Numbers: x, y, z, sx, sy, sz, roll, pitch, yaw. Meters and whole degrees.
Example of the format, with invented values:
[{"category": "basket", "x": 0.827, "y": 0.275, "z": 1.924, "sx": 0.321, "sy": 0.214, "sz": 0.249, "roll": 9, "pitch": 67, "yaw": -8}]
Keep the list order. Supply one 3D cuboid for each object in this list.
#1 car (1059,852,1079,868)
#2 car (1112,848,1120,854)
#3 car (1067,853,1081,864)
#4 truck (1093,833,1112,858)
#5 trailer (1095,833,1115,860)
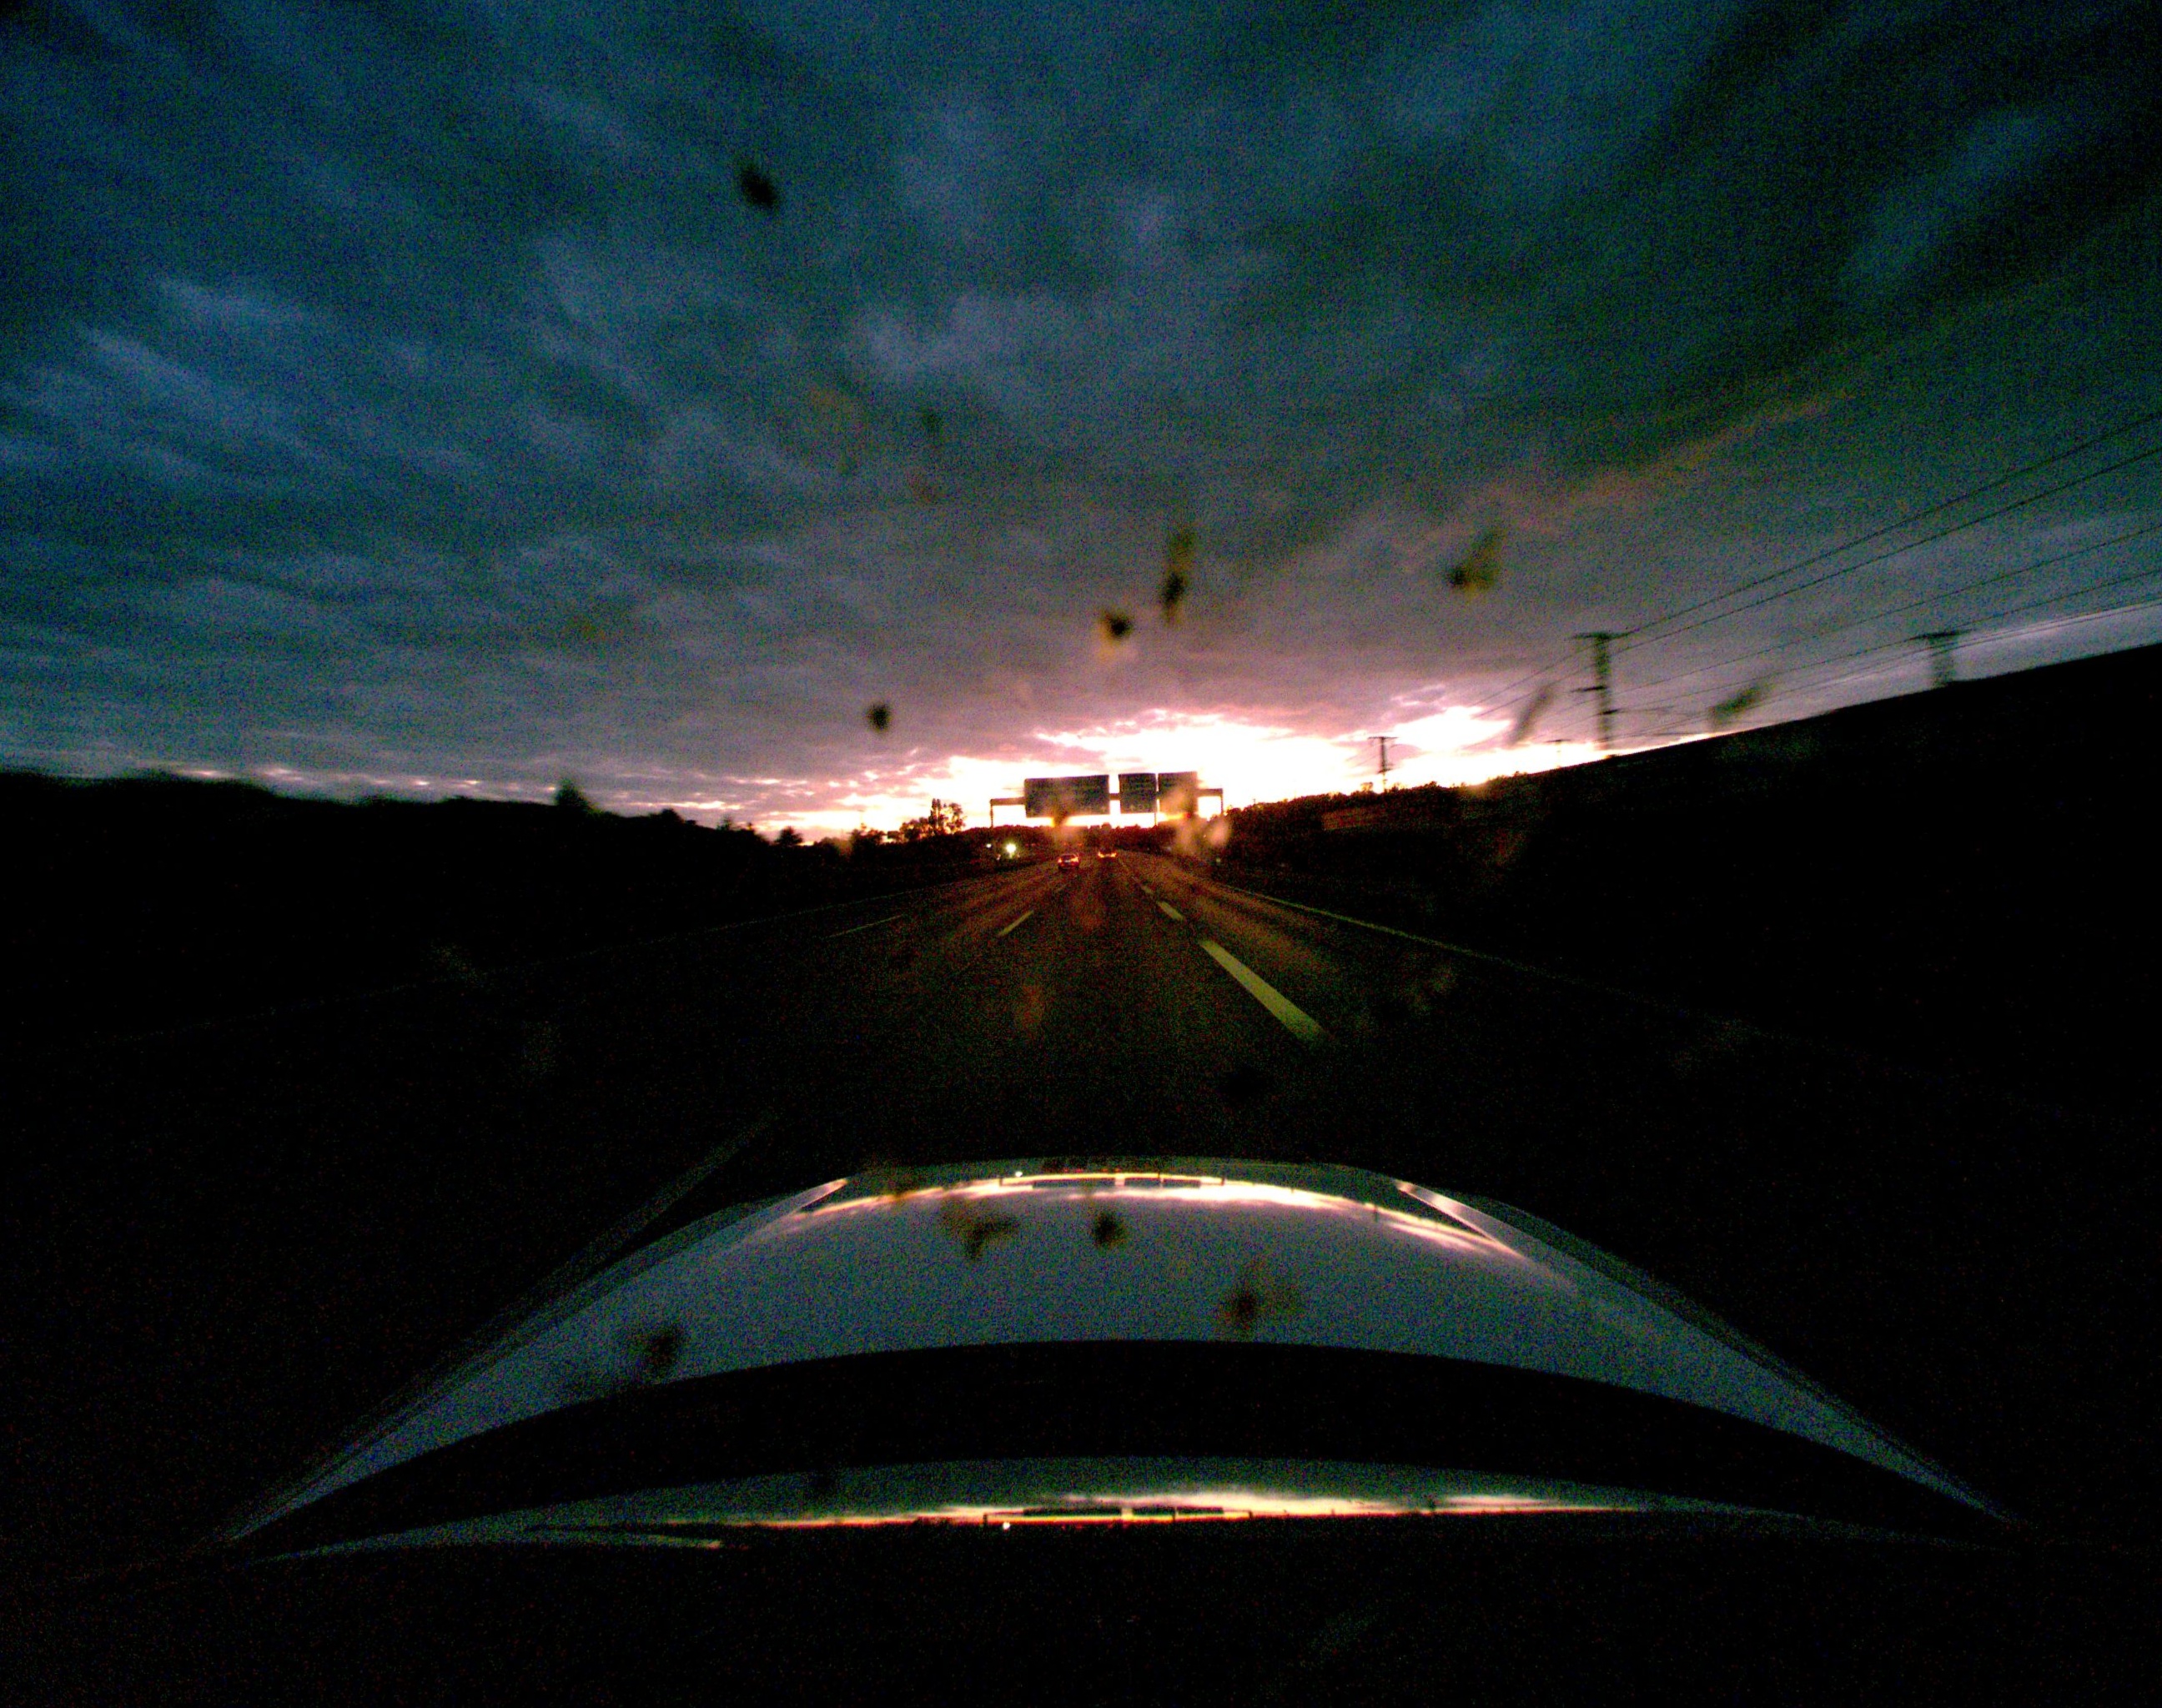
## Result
[{"category": "car", "x": -1.154, "y": 0.544, "z": 76.726, "sx": 1.685, "sy": 1.401, "sz": 3.406, "roll": -4, "pitch": 0, "yaw": -2}, {"category": "car", "x": 10.499, "y": -0.891, "z": 245.917, "sx": 1.988, "sy": 1.849, "sz": 3.997, "roll": -1, "pitch": -1, "yaw": -2}, {"category": "car", "x": -0.945, "y": 0.593, "z": 108.260, "sx": 1.684, "sy": 1.401, "sz": 3.408, "roll": -5, "pitch": 0, "yaw": 0}, {"category": "truck", "x": 3.795, "y": -1.534, "z": 143.023, "sx": 2.682, "sy": 4.070, "sz": 10.518, "roll": -4, "pitch": 1, "yaw": 0}, {"category": "trailer", "x": 3.883, "y": -1.265, "z": 133.378, "sx": 2.714, "sy": 4.070, "sz": 8.829, "roll": -4, "pitch": 1, "yaw": 0}]
